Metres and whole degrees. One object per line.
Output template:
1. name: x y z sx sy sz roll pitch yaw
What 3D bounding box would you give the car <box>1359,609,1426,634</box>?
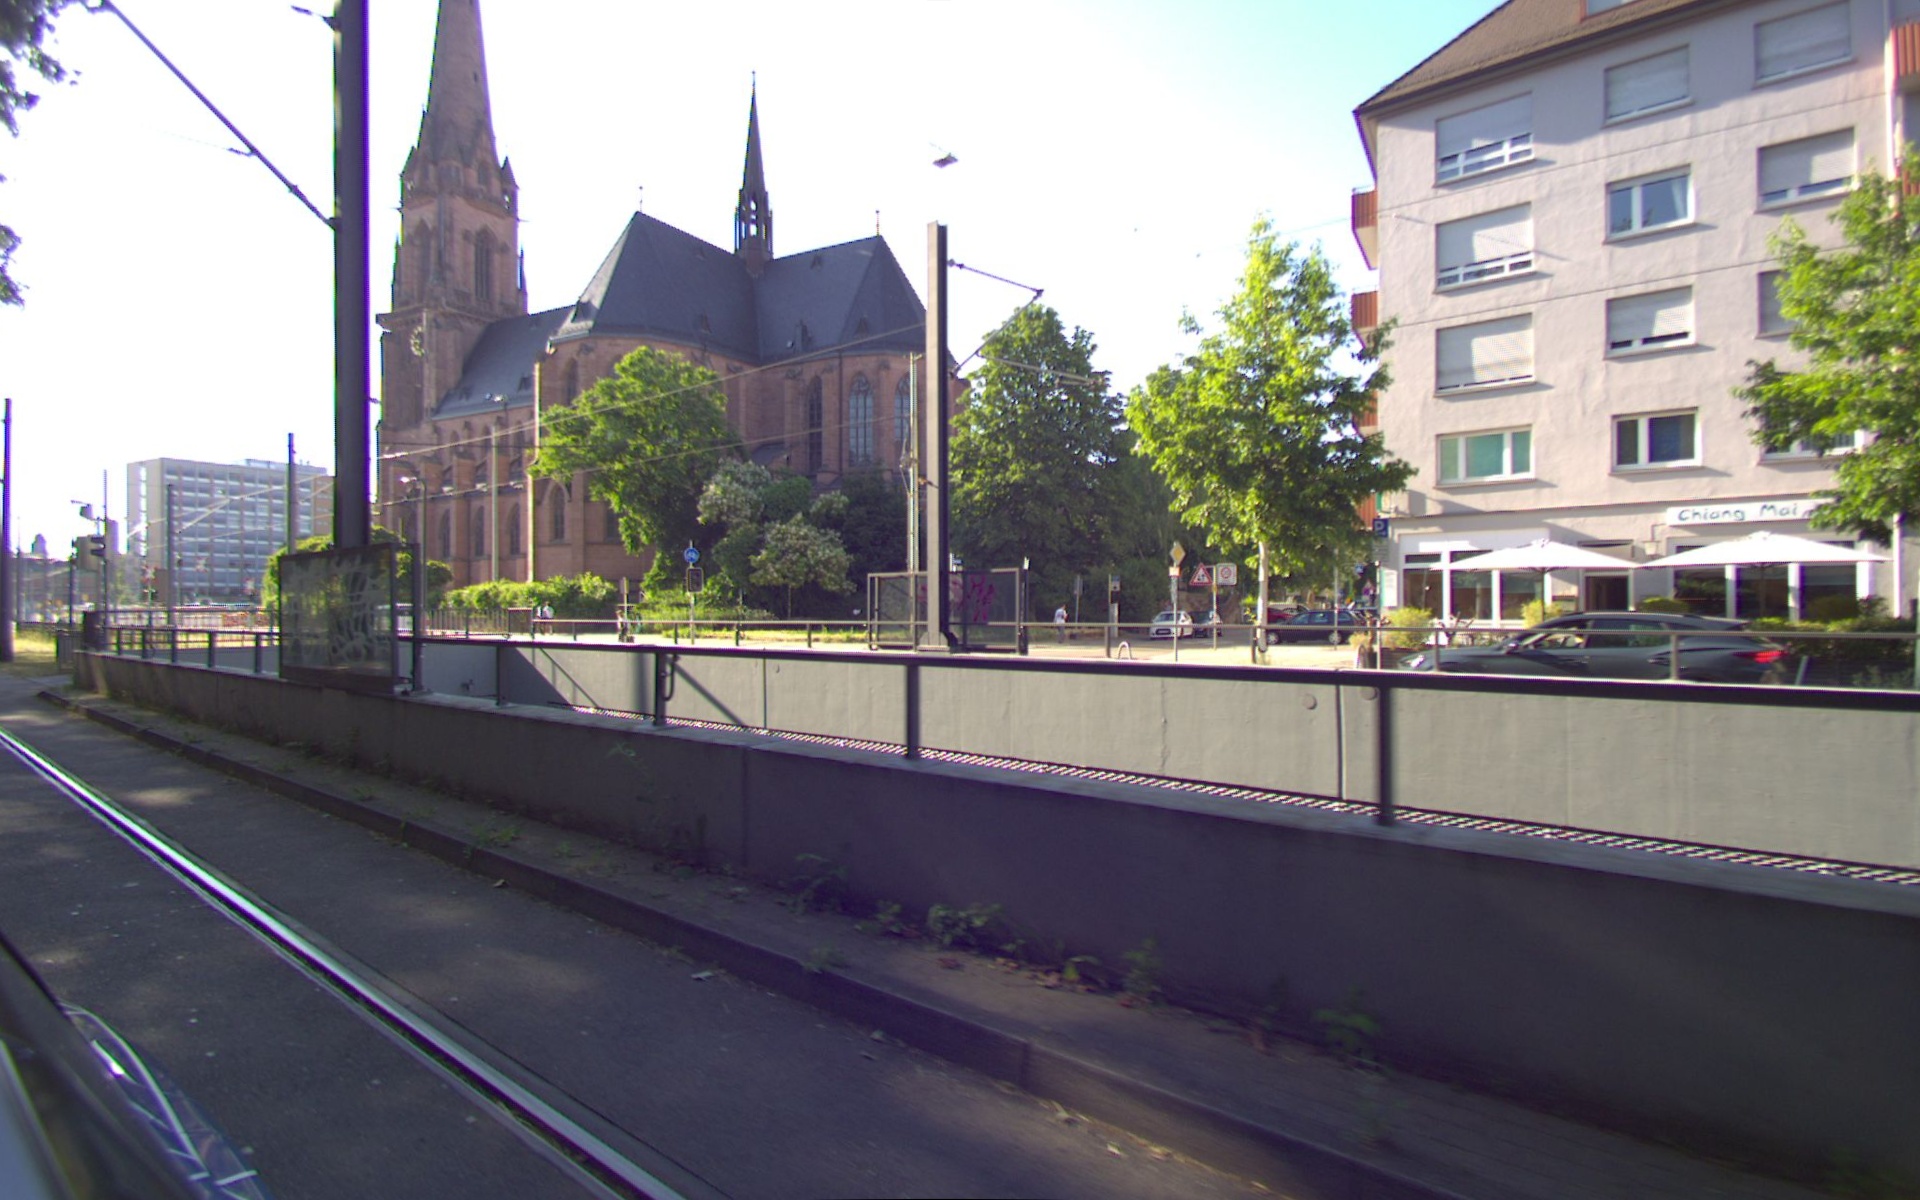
1. car: 29.437 1.487 68.935 3.983 1.563 1.981 -1 2 29

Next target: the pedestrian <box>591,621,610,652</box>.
1. pedestrian: -21.183 2.150 59.575 0.945 1.797 0.580 -1 2 38

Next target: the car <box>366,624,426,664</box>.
1. car: -30.986 2.387 55.522 1.968 2.029 5.021 2 -2 -39

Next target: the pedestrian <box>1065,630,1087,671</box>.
1. pedestrian: 4.912 2.134 42.912 0.720 1.667 0.505 -1 1 40

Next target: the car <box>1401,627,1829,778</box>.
1. car: 8.340 1.176 13.166 4.403 1.515 1.952 -1 2 39

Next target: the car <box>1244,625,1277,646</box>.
1. car: 23.842 2.805 80.293 1.693 1.431 3.637 -1 0 30

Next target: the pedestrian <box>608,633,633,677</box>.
1. pedestrian: -13.486 2.194 40.247 0.751 1.685 0.490 -2 1 27

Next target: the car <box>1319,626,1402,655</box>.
1. car: 21.875 2.216 55.311 3.983 1.430 1.981 -1 2 29

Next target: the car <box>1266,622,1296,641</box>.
1. car: 27.438 2.688 86.429 1.693 1.431 3.637 -1 0 30

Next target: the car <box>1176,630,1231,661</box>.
1. car: 13.322 2.468 55.198 1.746 1.431 4.054 -1 0 32

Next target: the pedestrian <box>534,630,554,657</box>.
1. pedestrian: -23.802 2.493 57.914 0.945 1.500 0.580 -1 2 38

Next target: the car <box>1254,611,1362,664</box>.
1. car: 14.515 1.545 42.231 3.965 2.028 1.807 -1 1 29

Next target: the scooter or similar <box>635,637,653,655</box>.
1. scooter or similar: -17.366 2.522 55.622 0.914 0.943 0.306 -2 1 21

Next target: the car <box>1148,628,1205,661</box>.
1. car: 10.958 2.237 51.122 1.694 1.431 3.635 -1 0 32
